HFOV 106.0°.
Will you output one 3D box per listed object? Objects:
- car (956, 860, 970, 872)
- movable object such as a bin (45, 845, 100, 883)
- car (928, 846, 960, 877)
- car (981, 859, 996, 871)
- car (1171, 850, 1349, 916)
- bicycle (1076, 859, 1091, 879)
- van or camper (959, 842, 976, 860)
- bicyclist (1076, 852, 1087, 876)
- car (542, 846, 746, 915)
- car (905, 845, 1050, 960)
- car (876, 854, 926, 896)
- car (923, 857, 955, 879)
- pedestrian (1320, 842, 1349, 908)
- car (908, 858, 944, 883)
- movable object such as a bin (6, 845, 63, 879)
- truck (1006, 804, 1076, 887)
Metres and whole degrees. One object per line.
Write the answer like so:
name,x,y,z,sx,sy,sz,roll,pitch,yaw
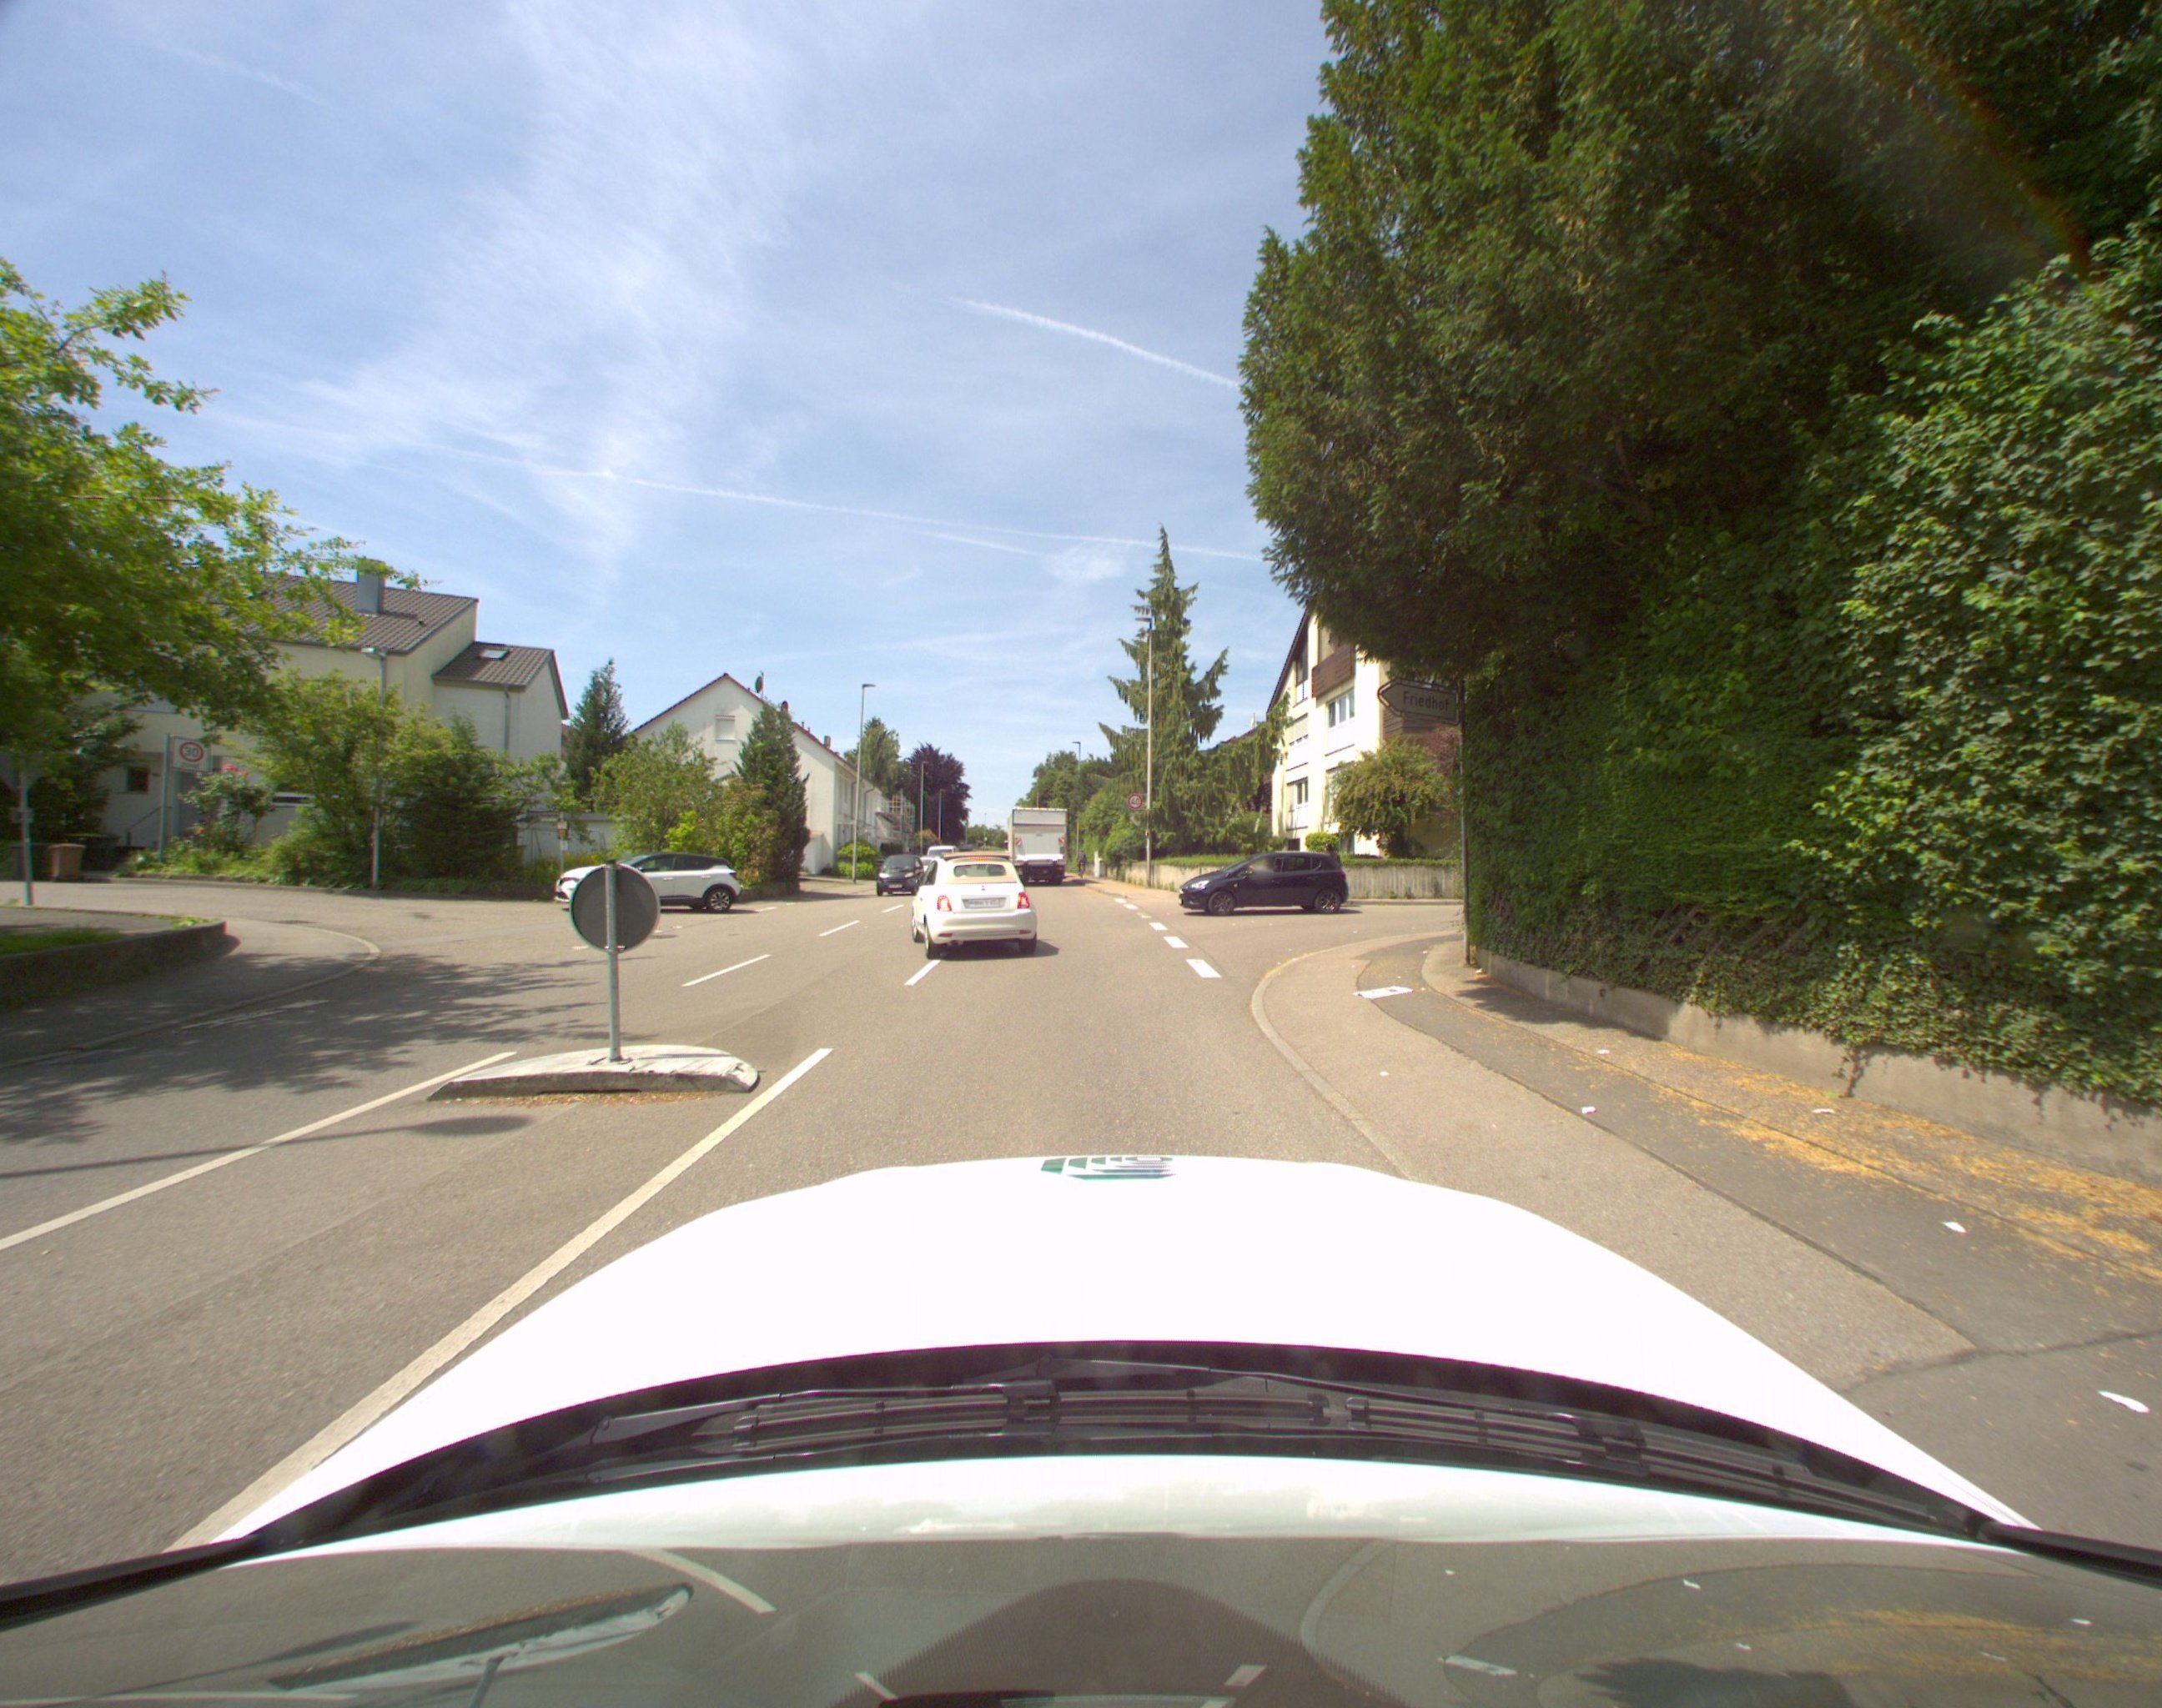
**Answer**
car,-16.059,1.618,110.849,1.472,1.494,3.079,0,0,0
movable object such as a bin,-24.713,0.242,19.961,0.574,0.890,0.593,2,0,7
car,-9.975,0.533,59.488,2.035,2.200,5.569,0,0,-7
car,-12.063,1.408,106.646,1.831,1.534,3.992,1,-1,-6
car,4.217,0.667,19.572,3.922,1.458,1.657,-1,0,-2
bicycle,0.130,0.886,48.900,0.667,1.104,2.421,1,0,-5
van or camper,-18.627,-0.493,133.574,2.260,2.962,5.882,1,0,-3
bicyclist,0.011,0.608,48.930,0.587,1.412,0.741,1,0,-5
car,-11.051,0.702,20.811,1.767,1.529,4.195,3,-1,44
car,-1.854,0.683,13.405,1.729,1.560,3.977,-1,0,-17
car,-6.881,0.789,31.310,1.477,1.510,2.796,-1,0,-4
car,-9.368,0.872,53.955,1.803,1.398,3.958,0,0,-7
pedestrian,6.523,0.525,20.935,0.690,1.671,0.572,0,0,19
car,-9.063,0.917,47.960,1.803,1.398,3.990,0,0,-7
movable object such as a bin,-25.801,0.202,20.081,0.635,0.810,0.605,1,0,6
truck,-2.175,-0.363,41.207,3.065,3.774,7.850,0,0,-6
